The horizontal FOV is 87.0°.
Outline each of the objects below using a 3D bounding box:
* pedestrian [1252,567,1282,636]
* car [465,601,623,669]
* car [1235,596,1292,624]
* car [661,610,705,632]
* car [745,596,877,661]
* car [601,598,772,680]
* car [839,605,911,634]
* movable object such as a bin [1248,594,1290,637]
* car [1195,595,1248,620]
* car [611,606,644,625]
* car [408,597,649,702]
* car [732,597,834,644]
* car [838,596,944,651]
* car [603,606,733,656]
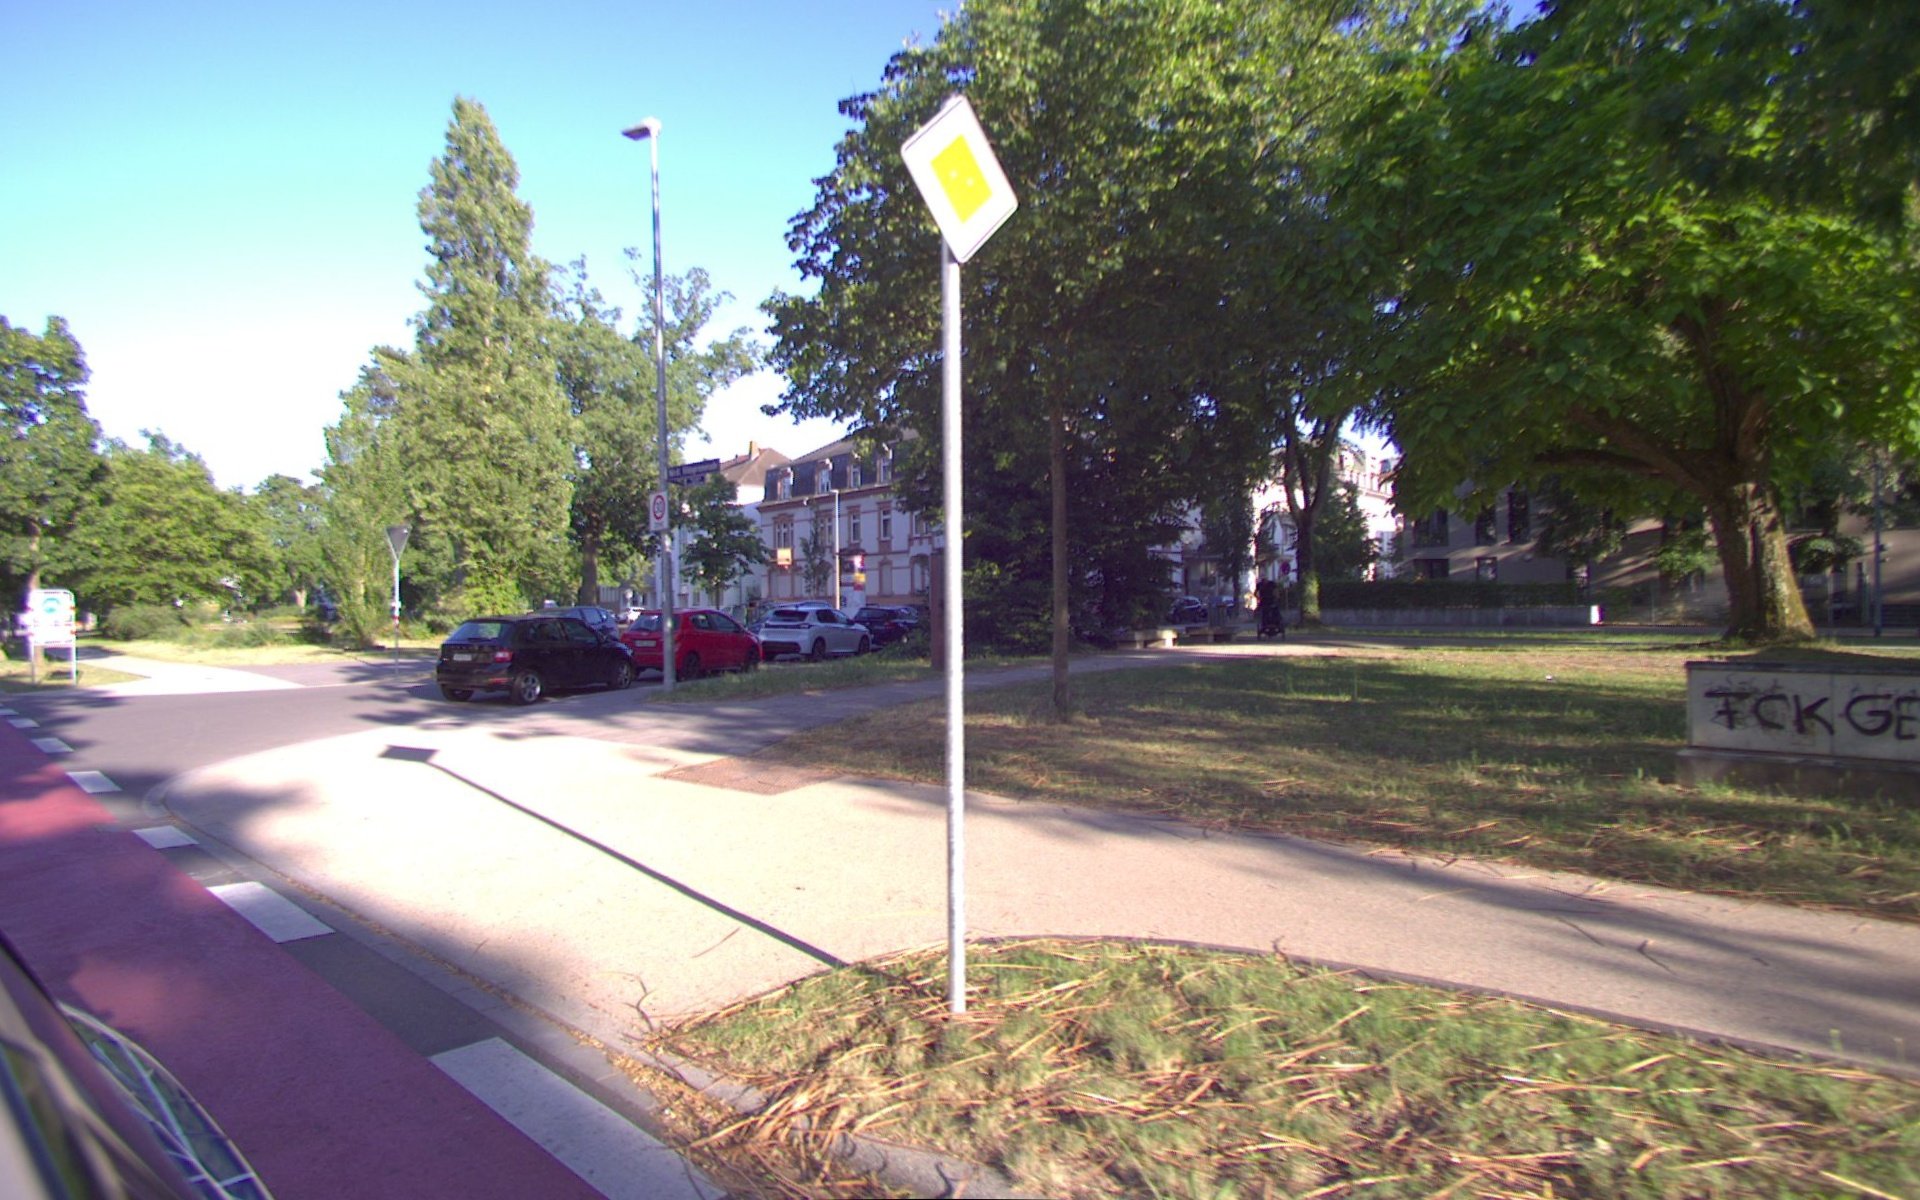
[{"bbox_3d":[7.755,0.048,25.550,0.667,1.708,0.660,-1,0,19],"label":"pedestrian"},{"bbox_3d":[-10.751,0.845,26.422,1.824,1.643,3.825,0,0,17],"label":"car"},{"bbox_3d":[18.050,0.575,60.059,1.889,1.586,3.948,1,1,39],"label":"car"},{"bbox_3d":[-22.920,1.701,83.624,1.860,1.586,4.609,0,1,-38],"label":"car"},{"bbox_3d":[-3.962,0.707,27.598,1.877,1.586,3.973,1,1,21],"label":"car"},{"bbox_3d":[-5.920,0.776,22.451,1.874,1.586,3.978,1,1,17],"label":"car"},{"bbox_3d":[-5.196,1.128,61.635,1.863,1.586,4.602,0,1,-45],"label":"car"},{"bbox_3d":[7.513,0.366,24.569,0.942,0.997,1.325,0,0,18],"label":"movable object such as a bin"},{"bbox_3d":[17.823,0.475,68.908,1.890,1.586,3.946,1,1,41],"label":"car"},{"bbox_3d":[-31.391,1.442,95.523,1.859,1.586,4.612,0,1,-33],"label":"car"},{"bbox_3d":[-7.499,0.766,18.043,1.874,1.586,3.978,1,1,17],"label":"car"},{"bbox_3d":[-6.527,0.725,37.841,1.827,1.656,4.245,0,0,22],"label":"car"},{"bbox_3d":[-2.118,0.679,32.200,1.878,1.586,3.972,1,1,21],"label":"car"},{"bbox_3d":[-8.989,0.903,31.525,1.826,1.411,4.249,0,0,19],"label":"car"}]
